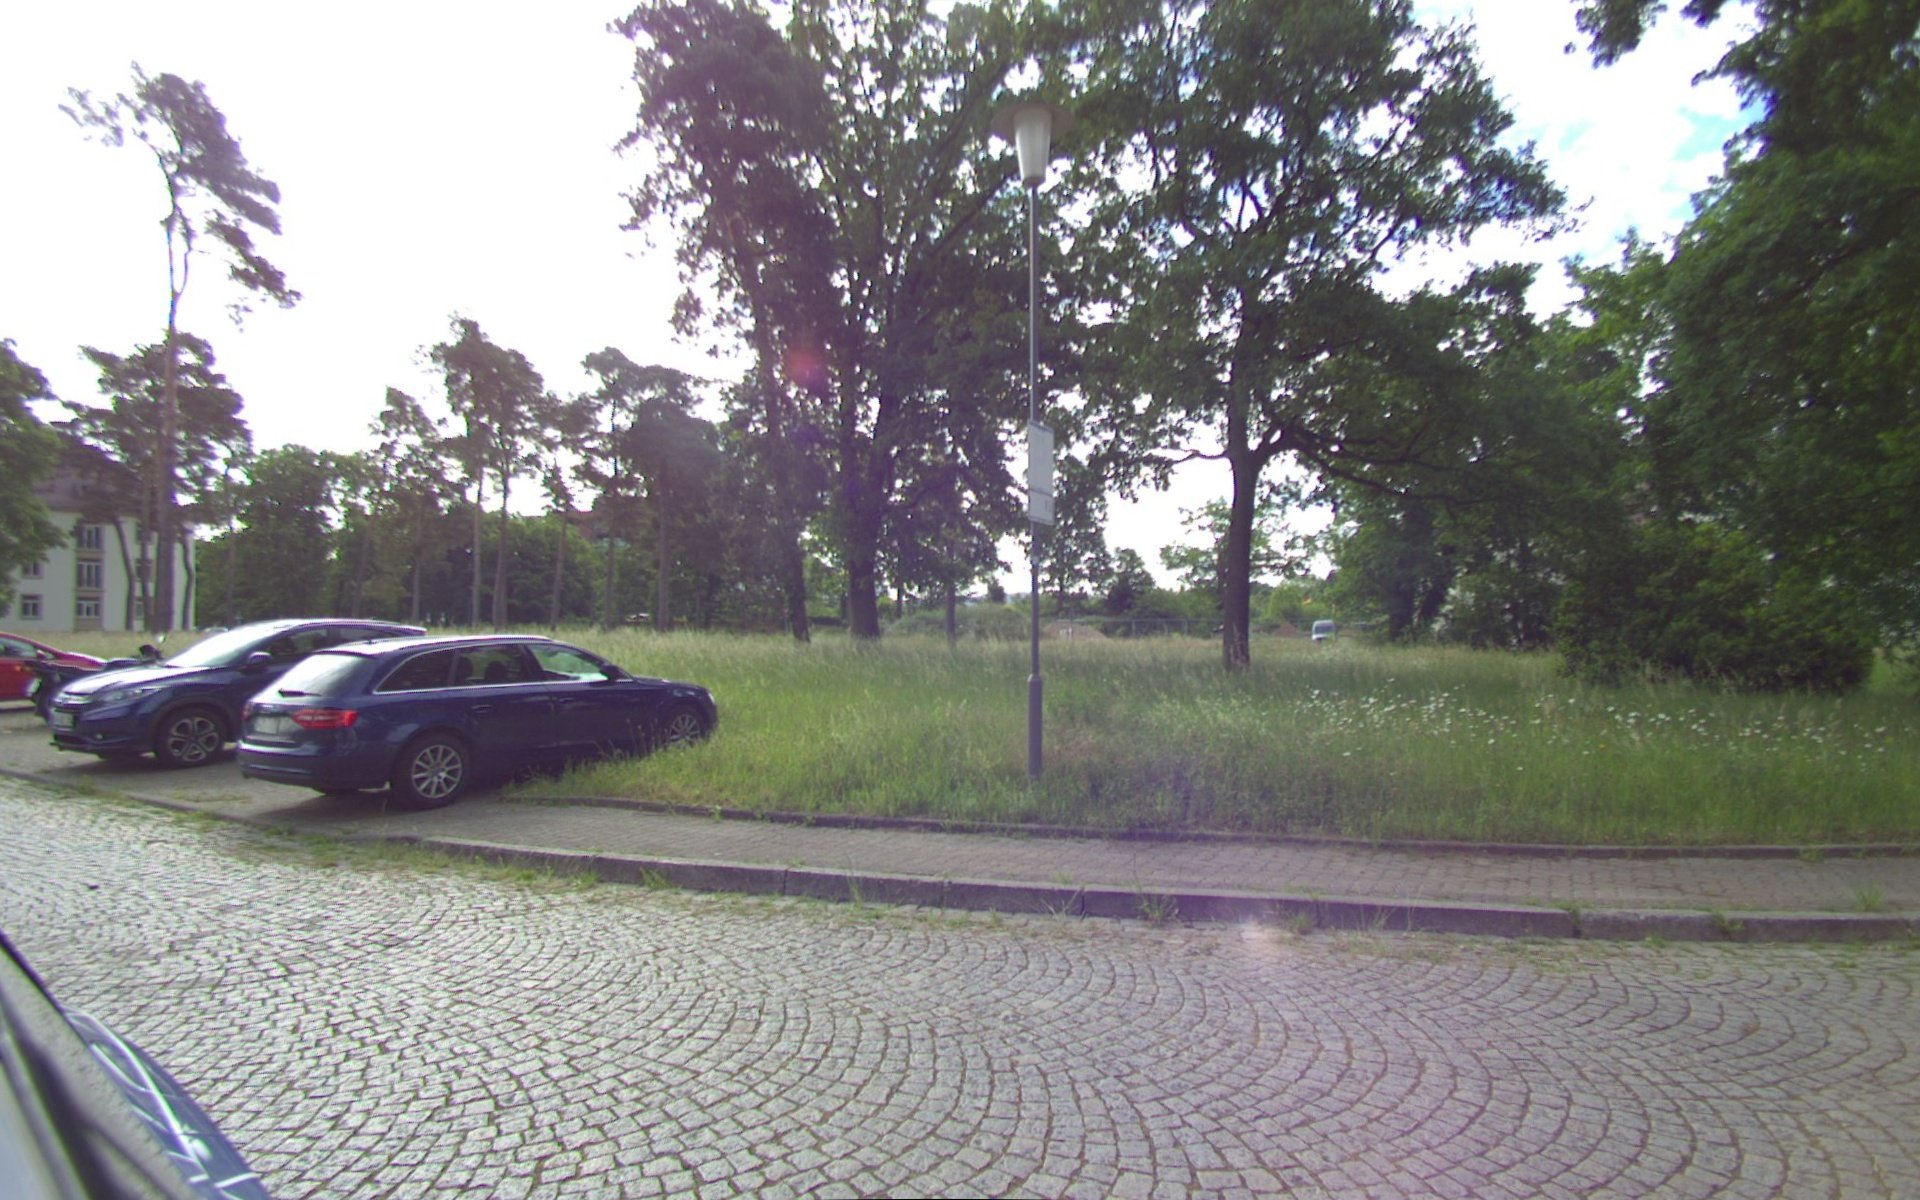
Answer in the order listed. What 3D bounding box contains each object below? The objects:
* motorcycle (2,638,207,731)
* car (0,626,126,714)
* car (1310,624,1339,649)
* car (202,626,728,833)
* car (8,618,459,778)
[{"bbox_3d":[-13.257,1.266,15.780,0.741,1.298,2.339,-1,-2,30],"label":"motorcycle"},{"bbox_3d":[-17.278,1.234,17.695,1.664,1.490,3.858,-1,-1,29],"label":"car"},{"bbox_3d":[32.891,3.266,91.250,2.029,2.029,4.191,0,1,27],"label":"car"},{"bbox_3d":[-4.456,1.029,9.855,1.677,1.491,4.396,-1,-1,32],"label":"car"},{"bbox_3d":[-8.546,1.016,12.341,1.782,1.585,4.111,0,-1,28],"label":"car"}]
